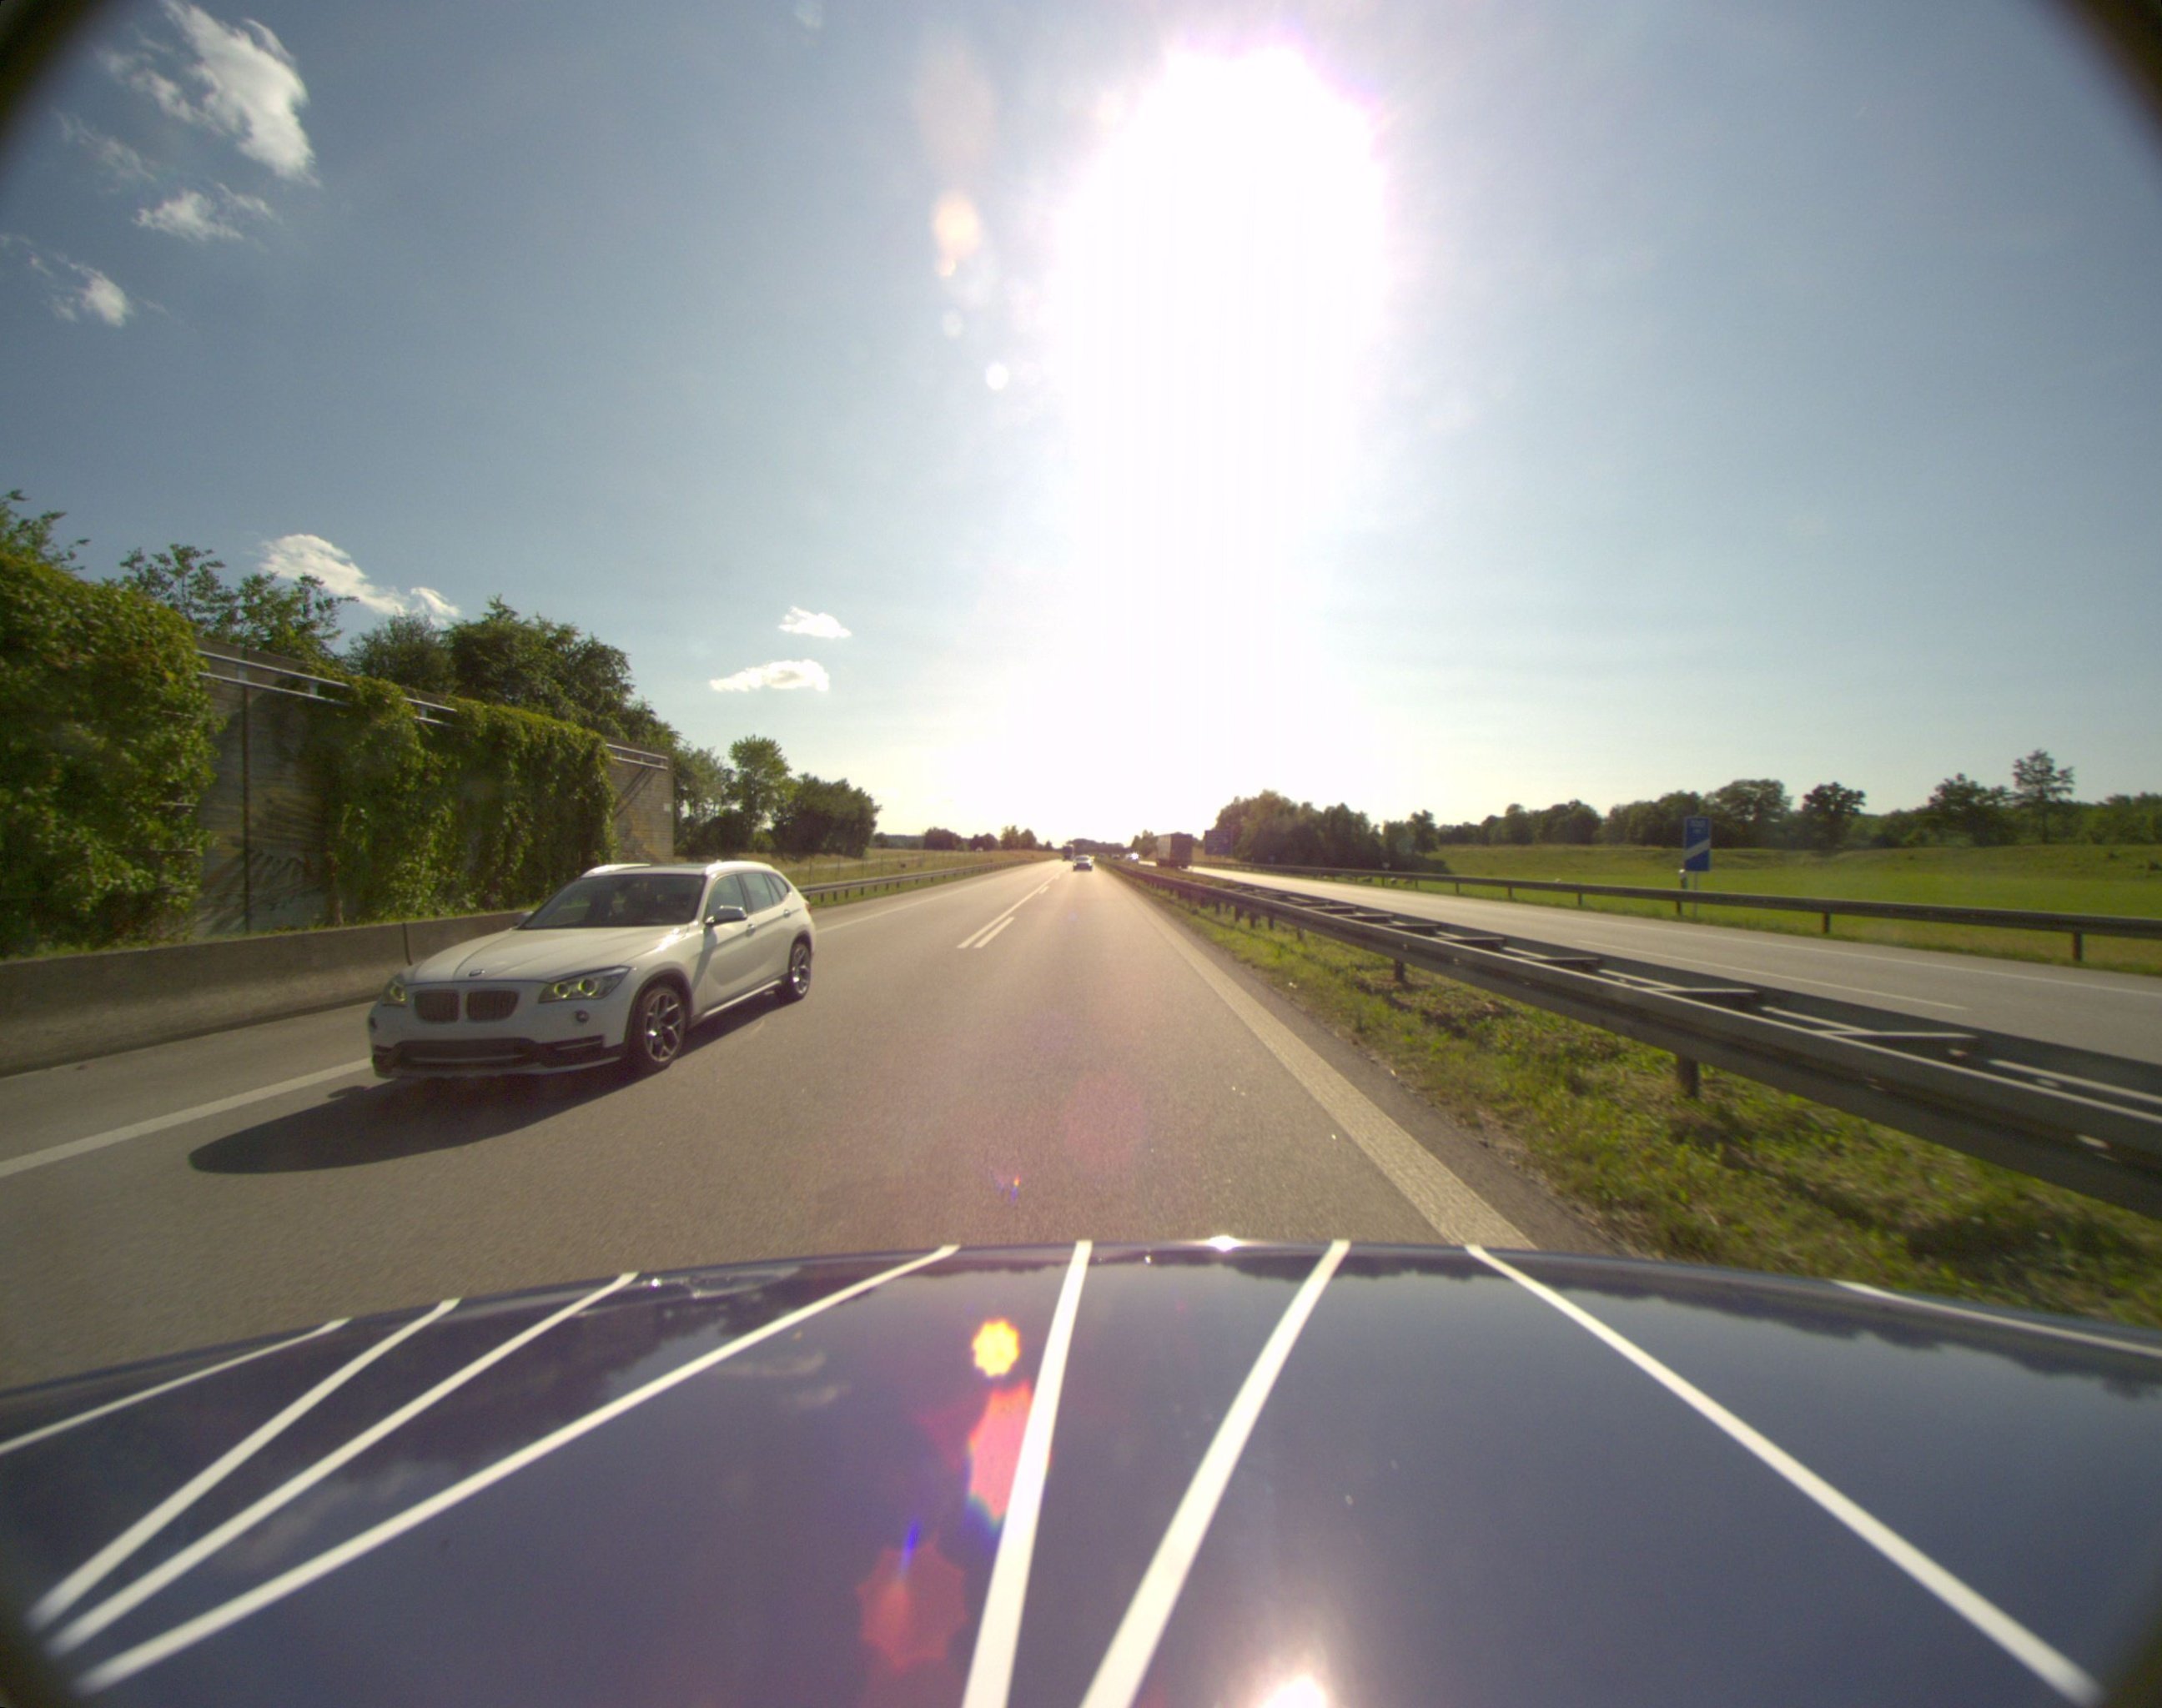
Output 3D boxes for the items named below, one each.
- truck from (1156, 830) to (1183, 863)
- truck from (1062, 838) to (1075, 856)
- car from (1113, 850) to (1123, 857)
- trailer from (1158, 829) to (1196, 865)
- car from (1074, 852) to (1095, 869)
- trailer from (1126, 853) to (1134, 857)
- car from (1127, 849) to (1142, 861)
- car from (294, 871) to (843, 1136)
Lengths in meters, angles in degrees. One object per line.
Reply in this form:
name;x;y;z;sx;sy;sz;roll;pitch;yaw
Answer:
truck;11.626;-0.963;100.368;2.747;4.278;6.333;1;1;0
truck;-2.870;-1.606;180.511;2.536;4.228;11.266;1;0;2
car;8.197;-0.120;168.446;1.685;1.451;4.925;3;0;-1
trailer;11.632;-0.848;93.619;2.795;4.136;14.392;1;0;0
car;0.337;0.589;72.820;1.870;1.514;4.284;1;0;1
trailer;11.666;0.291;181.319;1.746;0.931;4.020;1;0;0
car;8.101;0.146;115.337;1.999;1.655;4.633;1;0;0
car;-3.916;0.974;7.138;1.689;1.487;4.987;-2;0;1
